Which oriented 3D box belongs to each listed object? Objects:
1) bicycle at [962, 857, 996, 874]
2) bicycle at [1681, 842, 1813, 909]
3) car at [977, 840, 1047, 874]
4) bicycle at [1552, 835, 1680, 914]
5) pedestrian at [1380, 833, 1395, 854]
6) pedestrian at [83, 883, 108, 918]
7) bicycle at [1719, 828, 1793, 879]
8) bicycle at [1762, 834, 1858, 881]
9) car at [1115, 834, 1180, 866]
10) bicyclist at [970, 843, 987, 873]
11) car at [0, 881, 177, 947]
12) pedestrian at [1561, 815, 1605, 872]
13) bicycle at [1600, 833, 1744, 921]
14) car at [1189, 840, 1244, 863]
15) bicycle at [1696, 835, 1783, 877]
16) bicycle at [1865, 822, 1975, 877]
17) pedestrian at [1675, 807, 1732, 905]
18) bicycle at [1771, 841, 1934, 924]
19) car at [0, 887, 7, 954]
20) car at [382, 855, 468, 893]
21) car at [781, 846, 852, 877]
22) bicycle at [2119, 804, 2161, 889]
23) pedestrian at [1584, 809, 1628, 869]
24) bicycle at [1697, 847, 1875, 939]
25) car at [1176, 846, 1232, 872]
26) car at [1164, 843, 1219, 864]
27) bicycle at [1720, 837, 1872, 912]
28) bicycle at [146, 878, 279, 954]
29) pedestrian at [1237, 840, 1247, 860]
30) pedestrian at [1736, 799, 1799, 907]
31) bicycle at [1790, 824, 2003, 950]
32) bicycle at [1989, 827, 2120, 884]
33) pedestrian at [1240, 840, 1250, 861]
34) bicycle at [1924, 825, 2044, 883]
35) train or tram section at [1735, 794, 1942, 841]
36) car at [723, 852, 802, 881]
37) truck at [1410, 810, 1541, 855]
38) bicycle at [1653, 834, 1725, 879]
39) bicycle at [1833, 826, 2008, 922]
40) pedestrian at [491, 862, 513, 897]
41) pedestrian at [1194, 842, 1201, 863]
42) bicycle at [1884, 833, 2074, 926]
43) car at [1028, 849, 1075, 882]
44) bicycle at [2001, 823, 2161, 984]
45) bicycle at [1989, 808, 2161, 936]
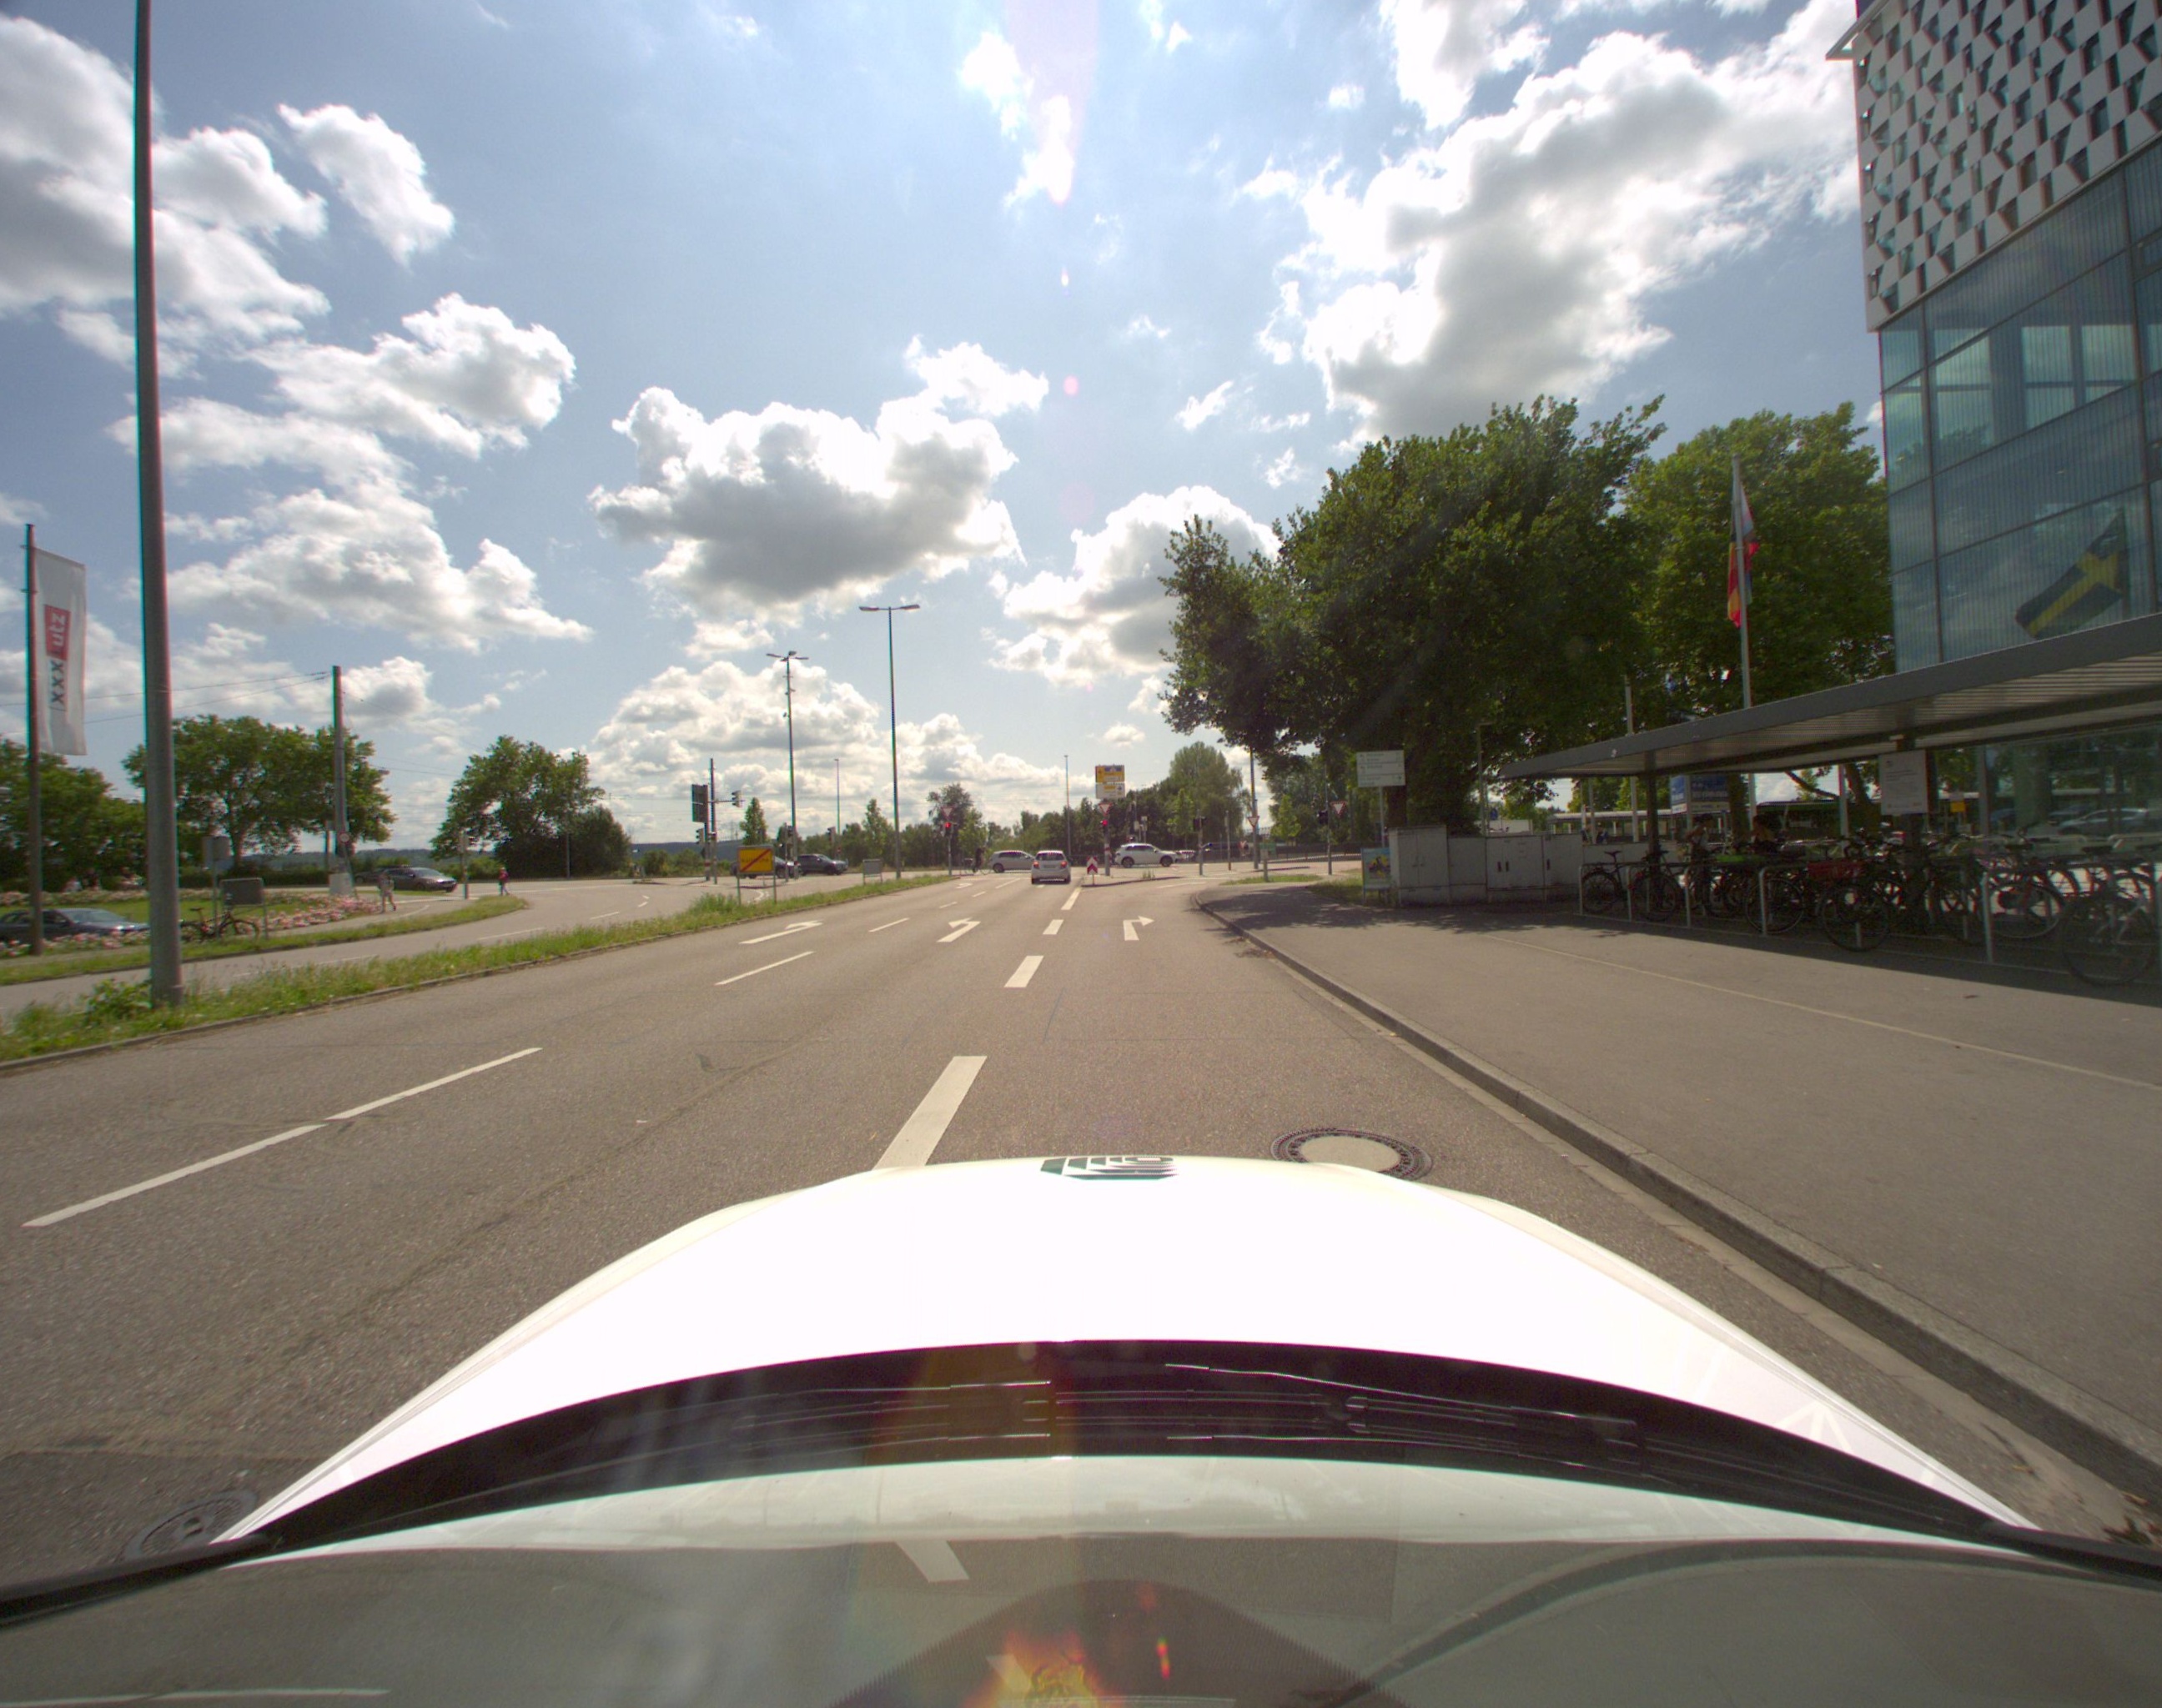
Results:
[{"bbox_3d":[-6.415,0.740,51.314,2.010,0.999,0.622,1,0,1],"label":"bicycle"},{"bbox_3d":[10.953,0.342,13.408,1.858,0.994,0.423,-3,0,-4],"label":"bicycle"},{"bbox_3d":[-4.544,0.192,53.952,4.333,1.989,2.000,-3,0,0],"label":"car"},{"bbox_3d":[8.886,0.331,13.536,1.858,1.187,0.423,-3,0,-4],"label":"bicycle"},{"bbox_3d":[26.763,-0.944,71.126,0.923,1.807,0.736,-2,0,1],"label":"pedestrian"},{"bbox_3d":[-52.314,2.445,43.226,0.529,1.810,0.599,-3,0,12],"label":"pedestrian"},{"bbox_3d":[16.868,-0.011,20.360,1.678,1.157,0.459,-3,0,-13],"label":"bicycle"},{"bbox_3d":[16.999,0.083,18.993,1.857,0.994,0.464,-2,0,-3],"label":"bicycle"},{"bbox_3d":[4.598,-0.258,57.043,4.333,1.989,2.000,-3,0,0],"label":"car"},{"bbox_3d":[-6.464,0.242,51.309,0.917,1.846,0.611,-2,0,1],"label":"bicyclist"},{"bbox_3d":[-34.745,2.064,28.506,3.971,2.013,2.001,-3,0,2],"label":"car"},{"bbox_3d":[17.625,-0.357,28.605,1.000,1.902,0.978,-3,-1,16],"label":"pedestrian"},{"bbox_3d":[8.851,0.336,12.218,1.858,1.187,0.423,-3,0,-4],"label":"bicycle"},{"bbox_3d":[12.298,-0.203,74.129,4.635,1.820,2.000,-3,0,1],"label":"car"},{"bbox_3d":[17.284,0.063,21.384,1.854,0.994,0.424,-3,0,3],"label":"bicycle"},{"bbox_3d":[17.328,-0.095,16.832,1.858,0.994,0.423,-4,-2,-4],"label":"bicycle"},{"bbox_3d":[10.816,0.033,14.167,0.540,1.662,0.548,-3,-1,12],"label":"pedestrian"},{"bbox_3d":[10.555,0.383,11.157,1.858,0.994,0.423,-3,0,-4],"label":"bicycle"},{"bbox_3d":[-34.569,2.099,23.713,3.971,2.013,2.001,-3,0,2],"label":"car"},{"bbox_3d":[-38.561,1.162,47.881,3.955,2.013,2.009,-3,0,18],"label":"car"},{"bbox_3d":[-18.843,0.552,58.198,4.333,1.989,2.000,-3,0,0],"label":"car"},{"bbox_3d":[16.850,-0.170,11.865,2.126,1.229,0.723,-4,0,11],"label":"bicycle"},{"bbox_3d":[18.757,-0.509,29.140,1.000,2.072,0.978,-3,-1,16],"label":"pedestrian"},{"bbox_3d":[8.680,0.465,10.043,1.858,0.994,0.423,-3,0,-4],"label":"bicycle"},{"bbox_3d":[9.485,0.408,63.056,3.975,1.783,1.909,-3,0,-1],"label":"car"},{"bbox_3d":[10.867,-0.037,80.245,5.100,1.808,2.000,-3,0,0],"label":"car"},{"bbox_3d":[10.864,0.306,12.407,1.854,1.034,0.424,-3,0,2],"label":"bicycle"},{"bbox_3d":[-21.668,1.512,20.393,1.013,1.675,2.050,-3,0,2],"label":"bicycle"},{"bbox_3d":[13.899,-0.336,70.445,0.703,1.721,0.601,-3,0,4],"label":"pedestrian"},{"bbox_3d":[10.966,-0.019,13.017,0.542,1.662,0.478,-3,0,0],"label":"pedestrian"},{"bbox_3d":[8.601,0.335,8.606,1.858,1.187,0.423,-3,0,-4],"label":"bicycle"},{"bbox_3d":[17.039,0.025,14.265,1.858,0.882,0.423,-4,0,-4],"label":"bicycle"},{"bbox_3d":[14.067,-0.276,69.783,0.673,1.748,0.638,-2,1,4],"label":"pedestrian"},{"bbox_3d":[17.040,-0.002,15.380,1.858,0.994,0.423,-3,-1,-4],"label":"bicycle"},{"bbox_3d":[60.160,-2.869,64.836,14.017,3.186,3.045,-2,-1,-2],"label":"train or tram section"},{"bbox_3d":[-21.481,0.832,55.076,4.488,1.674,1.904,-2,0,1],"label":"car"},{"bbox_3d":[40.547,-2.165,83.905,11.912,4.104,2.953,-2,0,1],"label":"truck"},{"bbox_3d":[16.877,0.067,22.603,1.924,1.108,0.501,-3,-2,-17],"label":"bicycle"},{"bbox_3d":[10.802,0.250,10.493,1.858,1.116,0.423,-3,-1,-4],"label":"bicycle"},{"bbox_3d":[-30.928,1.339,43.513,0.800,1.837,0.860,0,-1,-27],"label":"pedestrian"},{"bbox_3d":[9.865,-0.119,69.081,0.520,1.721,0.731,-3,0,5],"label":"pedestrian"},{"bbox_3d":[10.838,0.302,9.842,1.858,0.995,0.423,-3,-2,-4],"label":"bicycle"},{"bbox_3d":[-1.328,0.516,38.352,1.887,1.470,3.835,-1,0,2],"label":"car"},{"bbox_3d":[8.459,0.350,6.381,1.888,1.170,0.424,-4,0,2],"label":"bicycle"},{"bbox_3d":[10.749,0.170,8.618,1.858,1.231,0.423,-3,0,-4],"label":"bicycle"}]
